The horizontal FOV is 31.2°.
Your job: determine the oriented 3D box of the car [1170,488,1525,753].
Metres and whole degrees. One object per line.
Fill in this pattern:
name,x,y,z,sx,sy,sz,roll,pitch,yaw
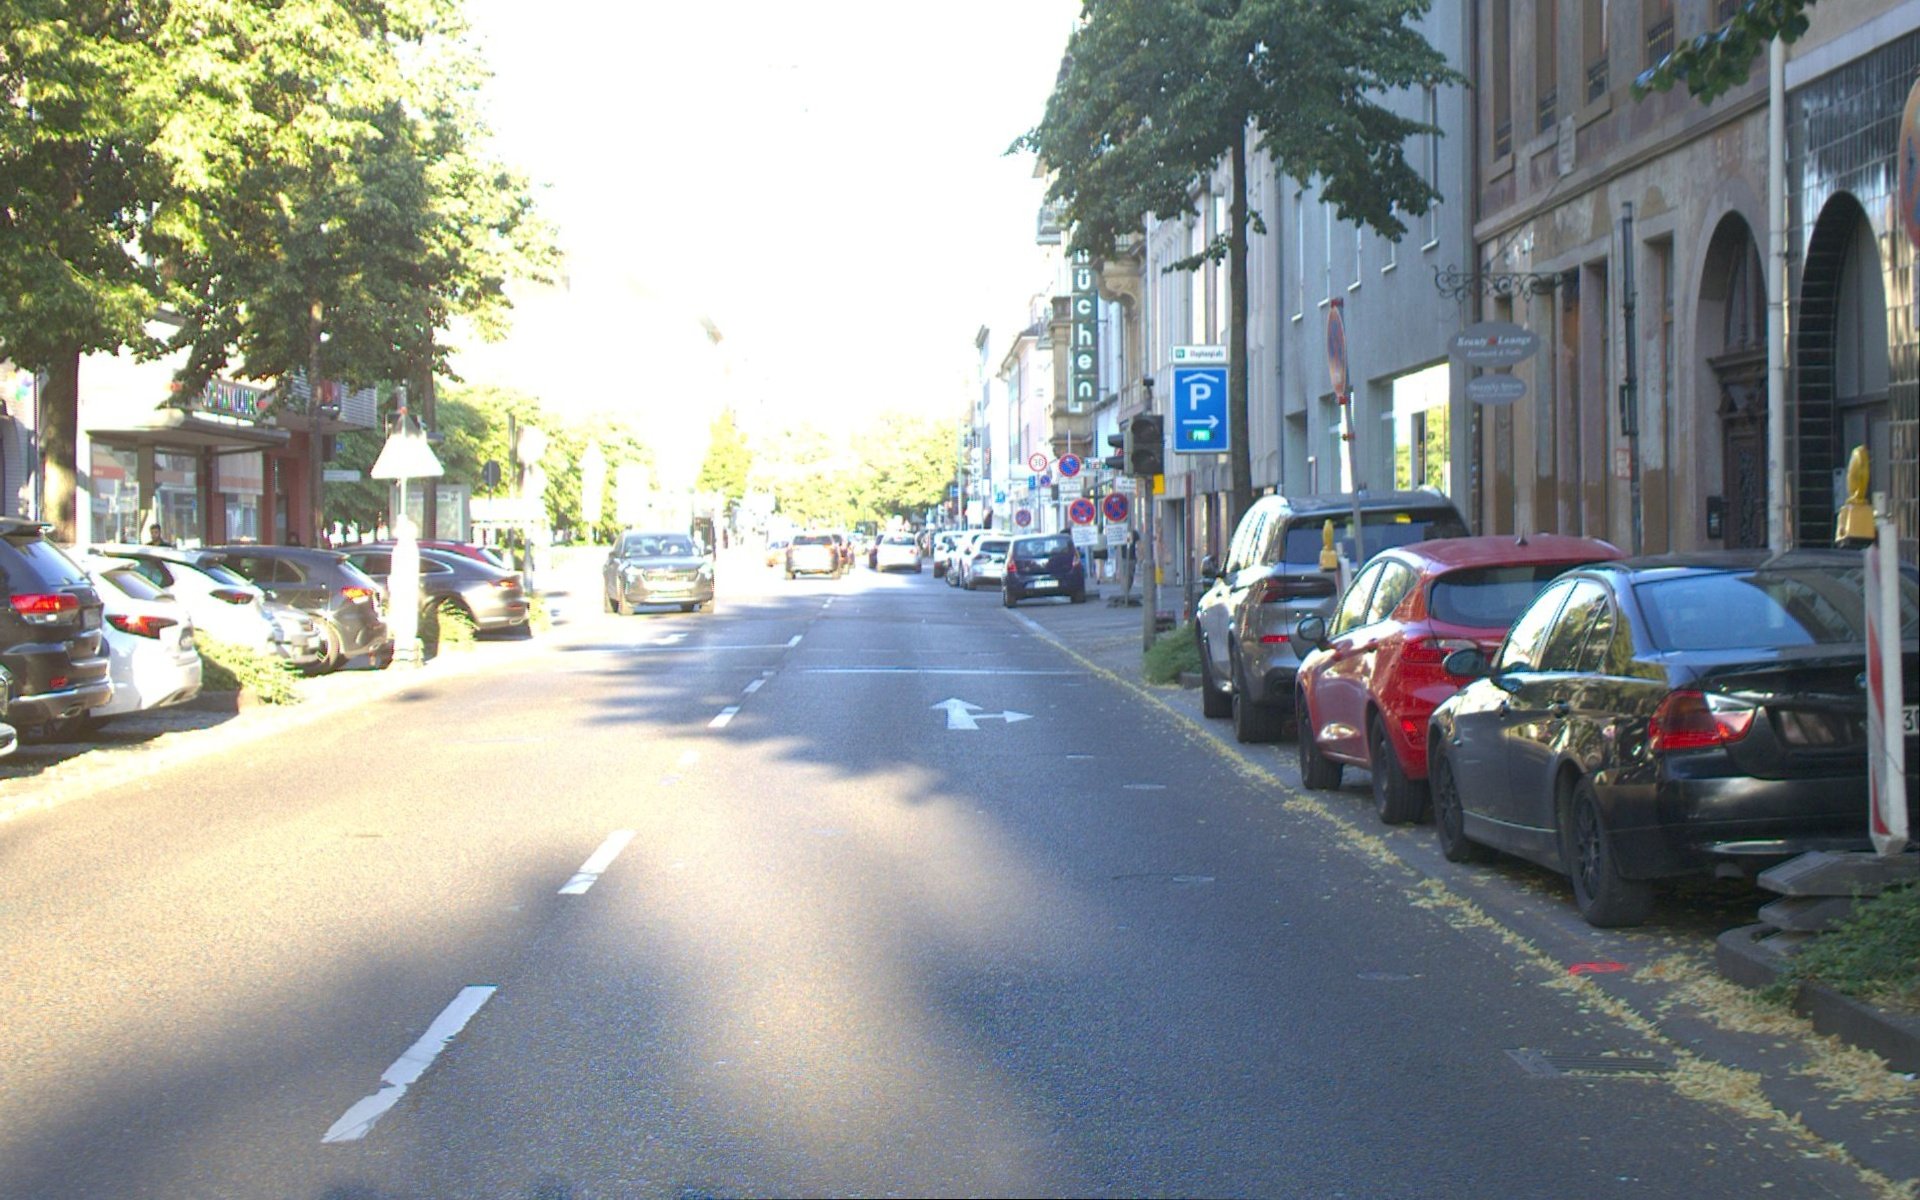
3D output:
car,2.804,0.089,25.946,2.038,1.731,4.711,-3,1,0

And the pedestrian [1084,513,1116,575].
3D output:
pedestrian,3.938,-1.586,96.545,0.772,1.705,1.042,-2,1,-2

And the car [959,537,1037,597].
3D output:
car,0.994,-0.868,92.333,1.759,1.531,4.822,1,0,-3

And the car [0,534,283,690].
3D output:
car,-8.541,0.093,33.143,3.737,1.439,1.806,1,1,-4

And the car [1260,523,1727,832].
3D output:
car,2.877,0.353,19.356,1.729,1.482,3.901,-3,1,-4

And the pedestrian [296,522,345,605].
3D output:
pedestrian,-11.925,-0.673,64.094,0.734,1.523,0.876,1,-1,-1

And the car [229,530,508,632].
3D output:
car,-9.250,-0.312,53.990,4.072,1.531,1.884,1,1,-1

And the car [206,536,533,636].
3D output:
car,-8.703,-0.215,50.968,4.570,1.403,1.822,1,1,-2

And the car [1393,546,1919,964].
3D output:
car,3.247,0.518,14.506,1.951,1.385,4.425,-3,1,-4

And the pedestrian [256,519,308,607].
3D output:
pedestrian,-12.608,-0.683,63.947,0.772,1.602,0.876,1,-1,-1

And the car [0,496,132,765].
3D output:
car,-7.940,0.170,23.502,4.148,1.767,1.890,1,1,-3

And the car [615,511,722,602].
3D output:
car,-5.755,-0.893,68.340,1.861,1.686,4.461,-1,2,-2

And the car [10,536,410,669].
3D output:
car,-8.295,0.011,38.311,4.106,1.398,1.884,1,1,-3

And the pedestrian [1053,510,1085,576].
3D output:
pedestrian,3.065,-1.598,96.469,0.772,1.821,1.011,-2,1,-2

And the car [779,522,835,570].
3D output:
car,-5.279,-1.859,119.162,1.896,1.644,4.105,0,1,-2

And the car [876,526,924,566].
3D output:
car,-2.466,-2.196,140.388,1.896,1.576,4.000,1,1,-2

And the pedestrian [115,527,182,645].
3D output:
pedestrian,-11.966,-0.197,50.727,0.772,1.715,0.876,1,-1,-1

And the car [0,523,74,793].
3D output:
car,-7.920,0.304,21.282,4.406,1.590,1.890,1,1,-2

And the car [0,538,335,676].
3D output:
car,-8.783,0.058,36.067,4.097,1.398,1.843,0,1,1

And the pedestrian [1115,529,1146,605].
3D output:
pedestrian,3.640,-0.708,73.304,0.604,1.594,0.774,0,1,-2

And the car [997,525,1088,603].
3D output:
car,1.742,-0.783,73.669,1.759,1.531,4.000,-4,1,0

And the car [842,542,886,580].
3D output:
car,-4.313,-1.752,153.912,1.896,1.575,3.852,2,1,-2

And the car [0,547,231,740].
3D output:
car,-7.851,0.301,26.465,4.148,1.416,1.767,1,1,-3

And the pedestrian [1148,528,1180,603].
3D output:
pedestrian,4.363,-0.736,73.458,0.604,1.594,0.774,0,1,-2

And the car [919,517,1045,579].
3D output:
car,0.622,-1.506,100.011,1.993,1.755,4.467,-1,1,-24

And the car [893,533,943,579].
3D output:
car,-1.554,-1.612,126.227,1.729,1.645,4.285,1,1,-2
